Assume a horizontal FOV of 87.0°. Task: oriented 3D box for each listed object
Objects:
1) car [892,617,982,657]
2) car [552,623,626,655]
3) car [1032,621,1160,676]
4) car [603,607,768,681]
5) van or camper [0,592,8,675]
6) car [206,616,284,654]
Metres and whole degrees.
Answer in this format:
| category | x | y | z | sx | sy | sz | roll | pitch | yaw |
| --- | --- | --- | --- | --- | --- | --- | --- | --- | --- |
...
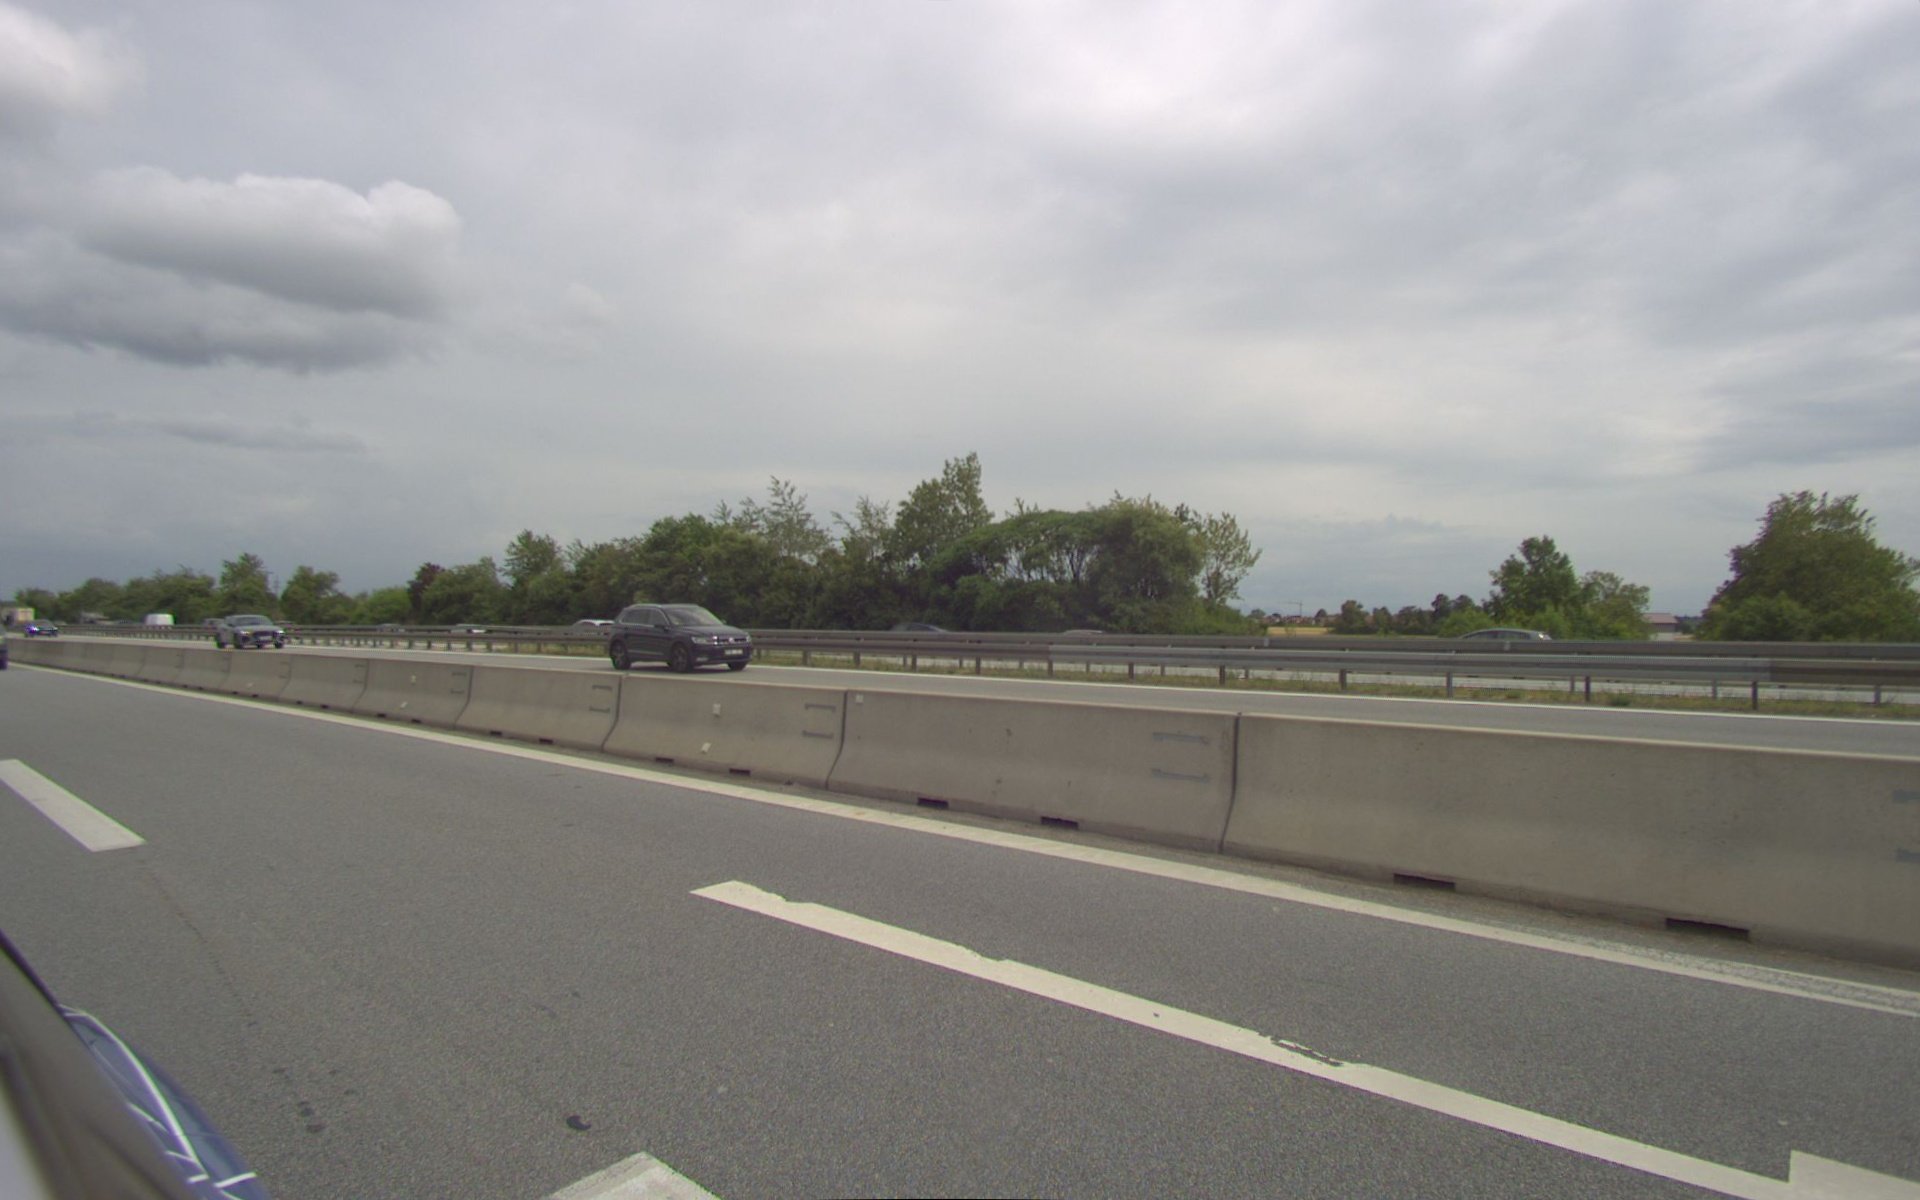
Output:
| category | x | y | z | sx | sy | sz | roll | pitch | yaw |
| --- | --- | --- | --- | --- | --- | --- | --- | --- | --- |
| car | -1.071 | 1.674 | 46.451 | 3.995 | 1.741 | 1.670 | -1 | -1 | 39 |
| car | -18.490 | 1.930 | 50.355 | 3.713 | 1.531 | 1.716 | -1 | -1 | 37 |
| car | 4.546 | 1.587 | 34.066 | 3.993 | 1.741 | 1.672 | -1 | -1 | 37 |
| car | -6.818 | 1.035 | 24.900 | 4.231 | 1.651 | 1.881 | -1 | -1 | 41 |
| van or camper | -30.559 | 1.009 | 30.591 | 6.122 | 2.389 | 1.979 | -1 | -1 | 41 |
| car | -33.145 | 1.594 | 46.872 | 4.642 | 1.652 | 1.881 | -1 | -1 | 41 |
